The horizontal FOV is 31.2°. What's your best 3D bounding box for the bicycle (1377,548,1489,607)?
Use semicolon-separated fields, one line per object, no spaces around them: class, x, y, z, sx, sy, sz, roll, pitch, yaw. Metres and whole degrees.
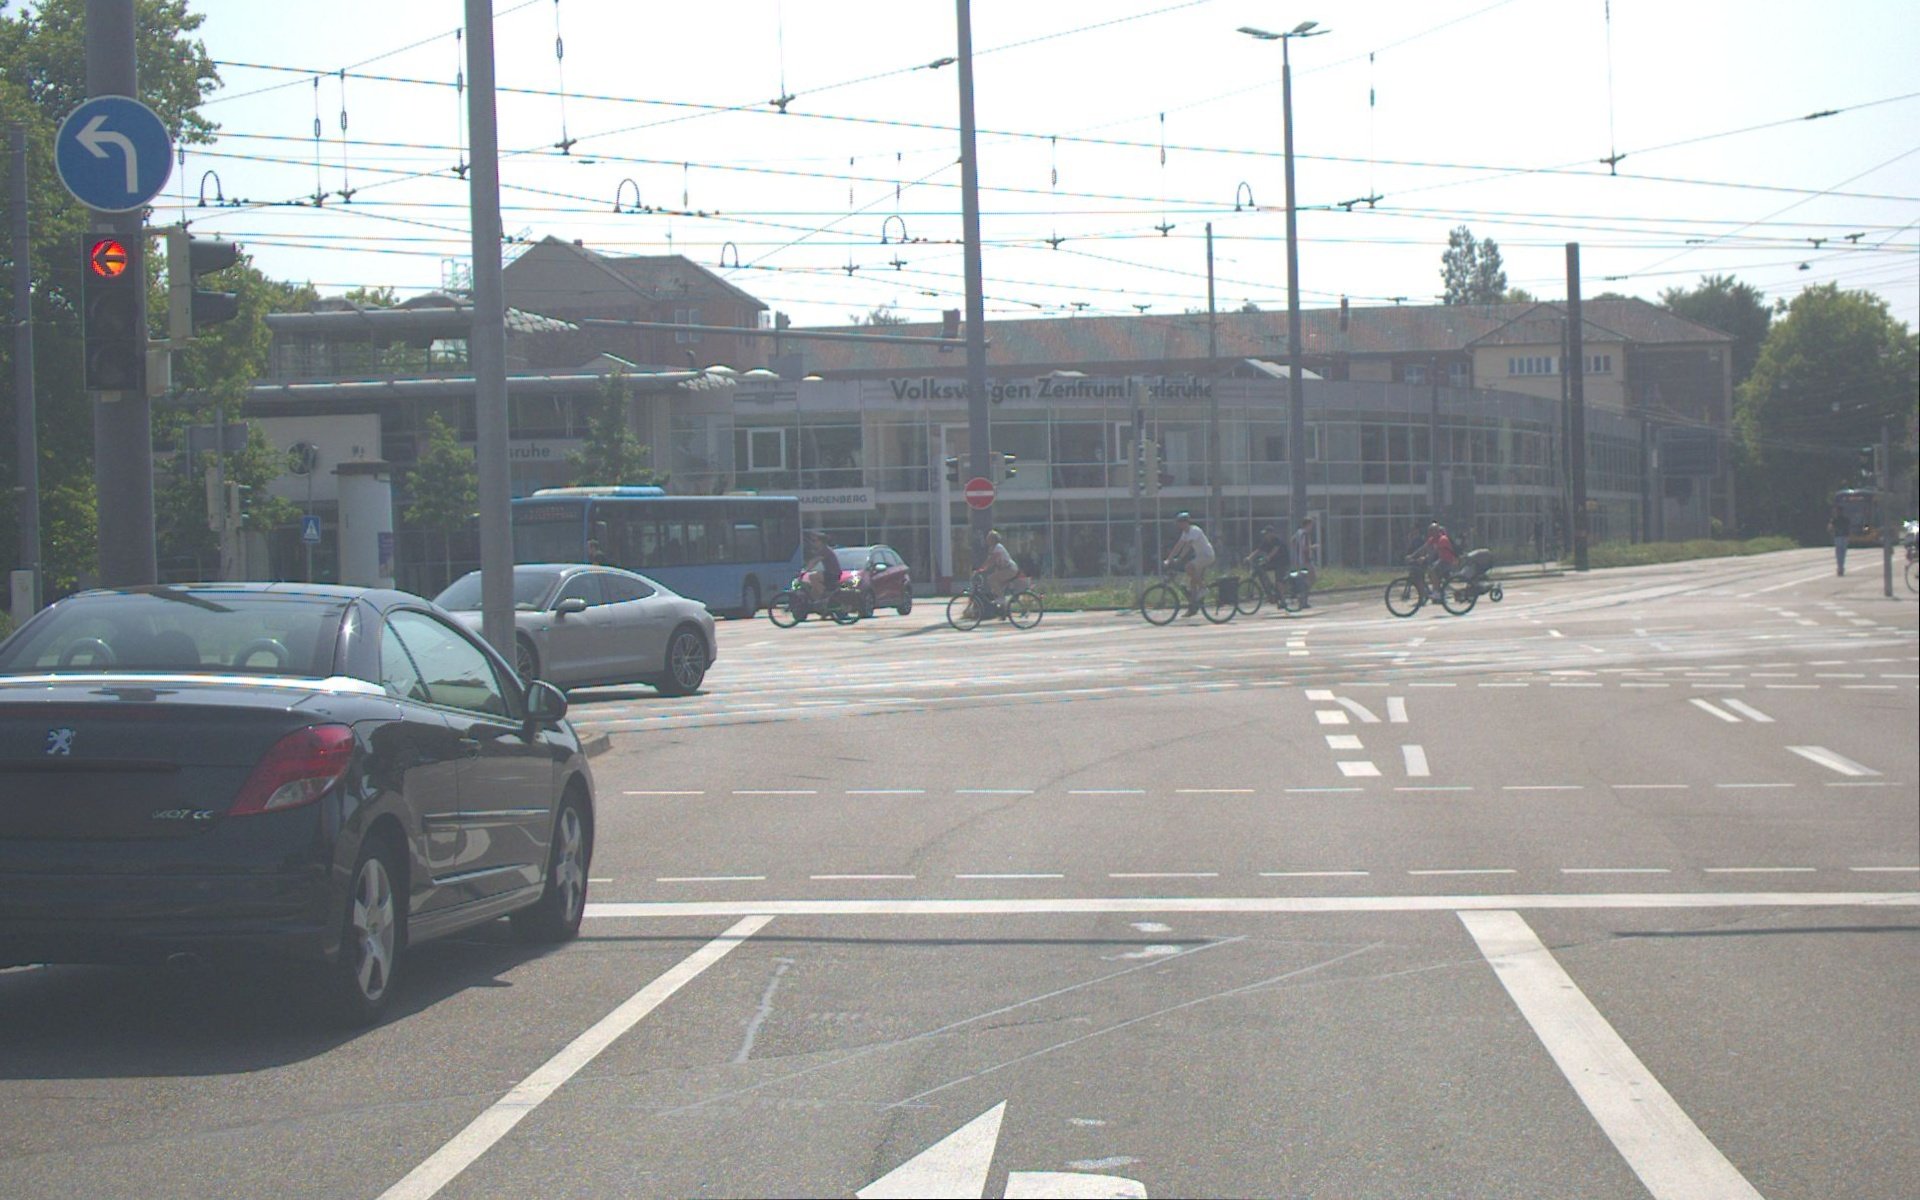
bicycle;8.630;-0.411;62.670;1.979;1.015;0.714;-1;1;10

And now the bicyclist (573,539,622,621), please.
bicyclist;-6.966;-0.385;66.086;0.797;1.536;0.763;-2;1;-15

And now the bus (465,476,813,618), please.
bus;-6.992;-1.241;77.666;3.056;2.921;11.841;-1;1;20

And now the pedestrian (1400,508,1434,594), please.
pedestrian;9.425;-1.010;70.902;0.622;1.746;0.628;-1;1;2

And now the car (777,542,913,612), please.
car;-2.460;-0.506;74.383;1.729;1.415;3.837;-1;1;18

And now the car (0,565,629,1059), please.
car;-2.473;0.604;12.090;1.758;1.399;3.980;0;1;7

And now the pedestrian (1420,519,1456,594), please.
pedestrian;9.998;-0.913;71.934;0.635;1.555;0.747;-1;1;2

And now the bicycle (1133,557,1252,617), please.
bicycle;4.120;-0.234;60.906;1.977;1.015;0.715;-1;1;-7

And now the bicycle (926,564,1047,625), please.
bicycle;0.462;-0.098;60.176;1.977;1.015;0.715;-1;1;-11

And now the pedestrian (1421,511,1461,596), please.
pedestrian;8.766;-0.843;62.638;0.662;1.529;0.714;-1;1;10

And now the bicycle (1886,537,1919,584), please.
bicycle;20.628;-0.851;73.598;1.590;0.981;0.507;-2;1;-26

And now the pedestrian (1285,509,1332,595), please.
pedestrian;7.233;-0.999;71.349;0.784;1.746;0.808;-1;1;18

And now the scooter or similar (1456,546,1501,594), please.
scooter or similar;10.853;-0.637;71.952;0.835;0.971;0.793;-1;1;2

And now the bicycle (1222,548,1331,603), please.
bicycle;6.170;-0.477;67.025;1.977;1.015;0.715;-2;1;-21

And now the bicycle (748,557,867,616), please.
bicycle;-2.964;-0.265;66.930;2.196;1.084;0.763;-1;1;-12

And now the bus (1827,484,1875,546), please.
bus;51.440;-4.892;198.328;2.563;3.494;7.796;-1;1;15

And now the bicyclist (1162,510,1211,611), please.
bicyclist;4.001;-0.705;60.879;0.704;1.758;0.715;-1;1;-7

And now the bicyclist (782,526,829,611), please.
bicyclist;-3.007;-0.623;66.914;0.761;1.628;0.763;-1;1;-12

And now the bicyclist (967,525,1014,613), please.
bicyclist;0.529;-0.544;60.184;0.664;1.503;0.715;-1;1;-11

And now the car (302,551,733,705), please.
car;-4.405;0.252;34.947;1.943;1.395;4.579;-1;1;30

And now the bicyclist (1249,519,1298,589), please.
bicyclist;6.108;-0.902;66.997;0.668;1.345;0.712;-2;1;-21

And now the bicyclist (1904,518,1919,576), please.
bicyclist;20.637;-1.142;73.606;0.594;1.243;0.507;-2;1;-27
